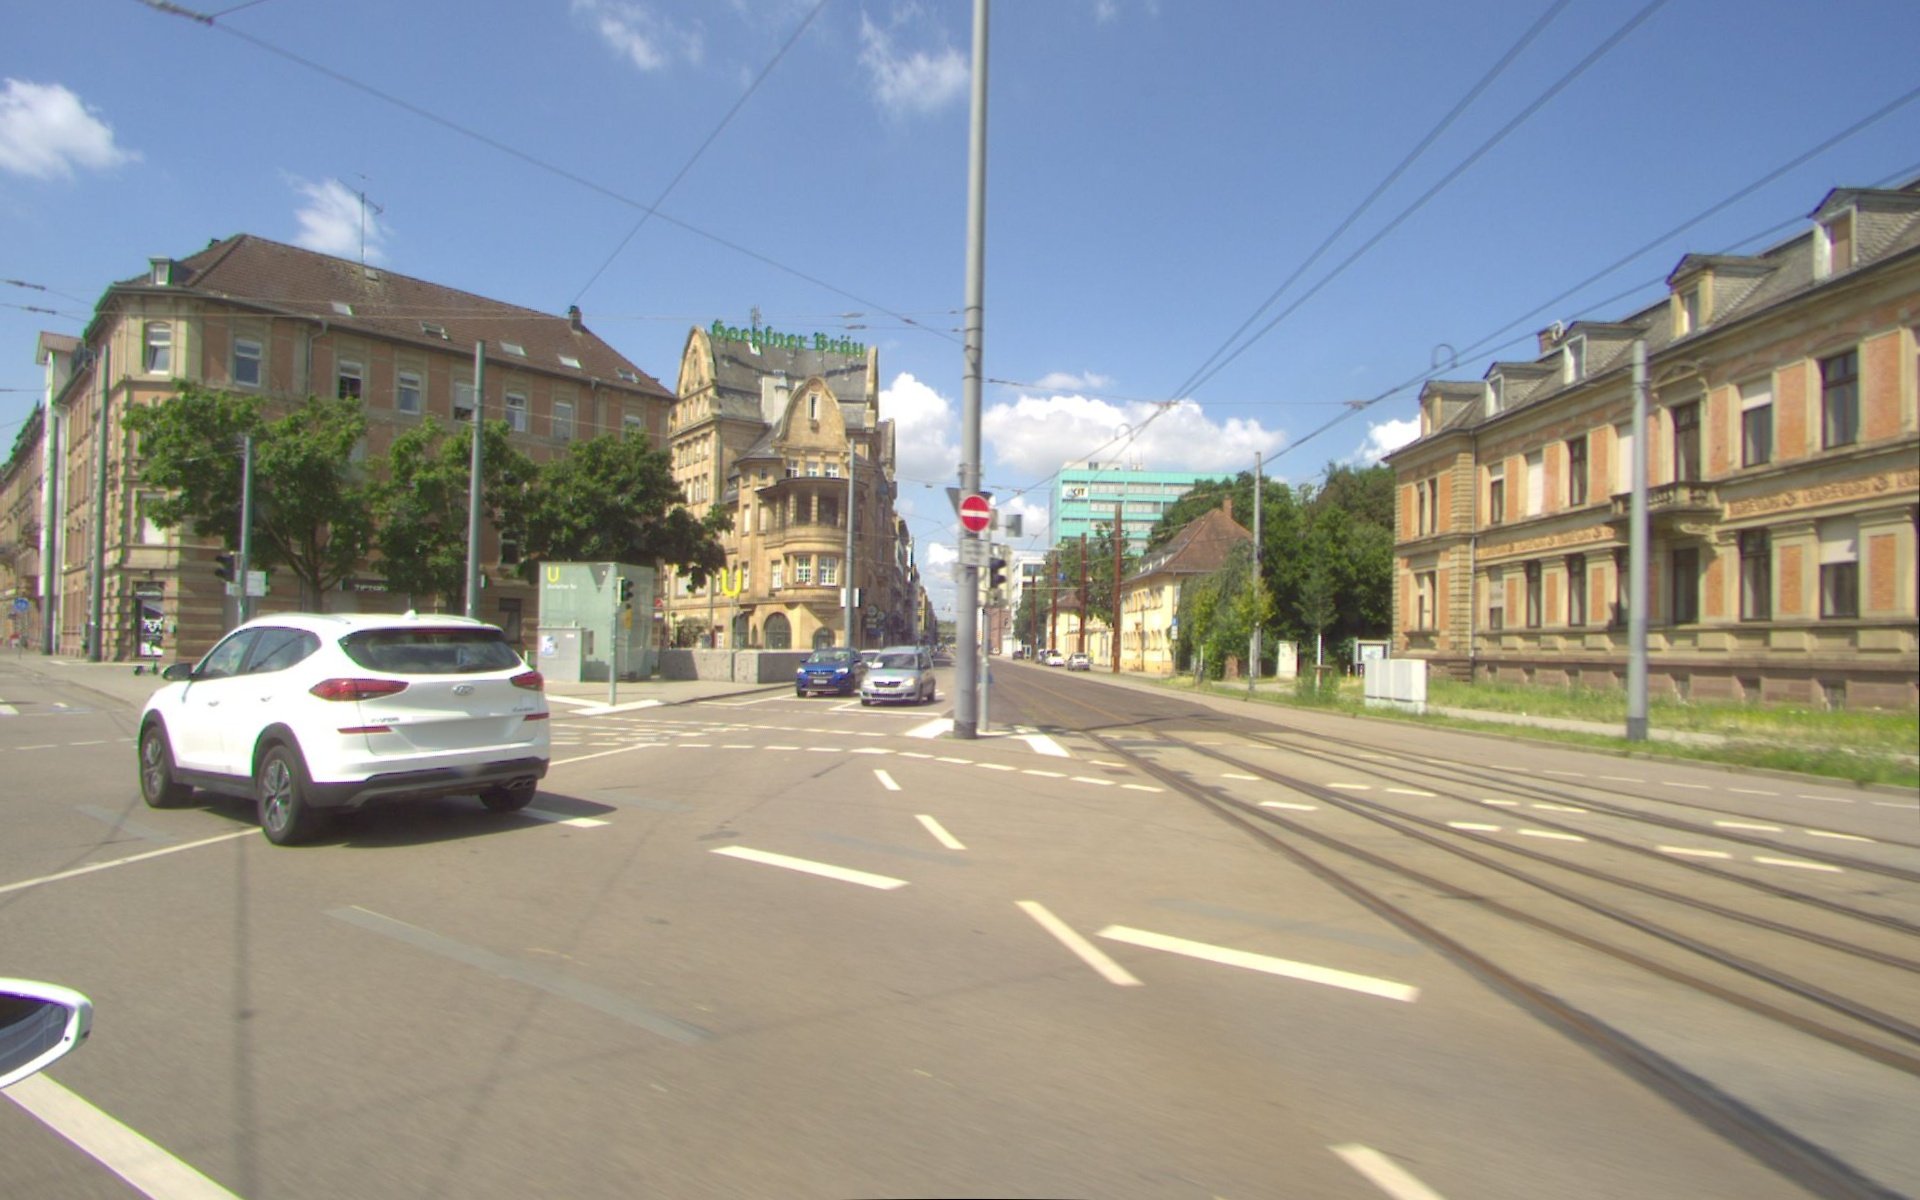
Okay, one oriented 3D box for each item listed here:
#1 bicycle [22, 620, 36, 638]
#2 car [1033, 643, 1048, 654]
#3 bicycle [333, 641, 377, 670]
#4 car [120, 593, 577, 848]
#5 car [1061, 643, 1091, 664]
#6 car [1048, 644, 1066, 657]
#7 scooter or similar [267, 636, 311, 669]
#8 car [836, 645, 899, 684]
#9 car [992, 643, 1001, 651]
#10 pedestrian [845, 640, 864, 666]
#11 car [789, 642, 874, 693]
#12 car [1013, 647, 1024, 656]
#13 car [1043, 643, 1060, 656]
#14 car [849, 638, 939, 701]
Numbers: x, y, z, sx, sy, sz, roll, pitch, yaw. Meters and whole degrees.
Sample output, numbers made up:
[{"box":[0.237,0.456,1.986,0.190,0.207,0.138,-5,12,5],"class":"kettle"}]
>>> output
[{"box":[-66.343,2.053,71.346,2.182,1.193,0.583,-1,-2,45],"class":"bicycle"},{"box":[9.991,6.030,124.679,1.648,1.404,3.634,1,-2,1],"class":"car"},{"box":[-23.502,2.135,38.889,1.018,1.095,2.242,1,-2,-44],"class":"bicycle"},{"box":[-5.291,0.832,8.501,4.125,1.654,1.847,0,-2,36],"class":"car"},{"box":[10.647,4.897,92.128,1.961,1.794,4.001,2,-2,-4],"class":"car"},{"box":[10.723,5.581,110.977,1.648,1.404,3.798,1,-2,1],"class":"car"},{"box":[-24.991,1.951,37.307,1.372,1.218,0.945,-1,-2,37],"class":"scooter or similar"},{"box":[-3.925,2.746,43.218,1.902,1.585,3.998,1,-3,7],"class":"car"},{"box":[8.616,11.135,237.559,1.961,2.039,4.002,1,-2,0],"class":"car"},{"box":[-6.578,3.318,62.352,0.881,1.578,0.864,1,-2,14],"class":"pedestrian"},{"box":[-4.208,2.214,33.526,1.838,1.570,4.429,-1,-3,6],"class":"car"},{"box":[9.645,8.507,165.567,1.648,1.404,3.634,1,-2,1],"class":"car"},{"box":[10.577,5.748,115.969,1.648,1.404,3.798,1,-2,1],"class":"car"},{"box":[-1.761,1.914,28.180,1.838,1.607,4.429,1,-3,5],"class":"car"}]
